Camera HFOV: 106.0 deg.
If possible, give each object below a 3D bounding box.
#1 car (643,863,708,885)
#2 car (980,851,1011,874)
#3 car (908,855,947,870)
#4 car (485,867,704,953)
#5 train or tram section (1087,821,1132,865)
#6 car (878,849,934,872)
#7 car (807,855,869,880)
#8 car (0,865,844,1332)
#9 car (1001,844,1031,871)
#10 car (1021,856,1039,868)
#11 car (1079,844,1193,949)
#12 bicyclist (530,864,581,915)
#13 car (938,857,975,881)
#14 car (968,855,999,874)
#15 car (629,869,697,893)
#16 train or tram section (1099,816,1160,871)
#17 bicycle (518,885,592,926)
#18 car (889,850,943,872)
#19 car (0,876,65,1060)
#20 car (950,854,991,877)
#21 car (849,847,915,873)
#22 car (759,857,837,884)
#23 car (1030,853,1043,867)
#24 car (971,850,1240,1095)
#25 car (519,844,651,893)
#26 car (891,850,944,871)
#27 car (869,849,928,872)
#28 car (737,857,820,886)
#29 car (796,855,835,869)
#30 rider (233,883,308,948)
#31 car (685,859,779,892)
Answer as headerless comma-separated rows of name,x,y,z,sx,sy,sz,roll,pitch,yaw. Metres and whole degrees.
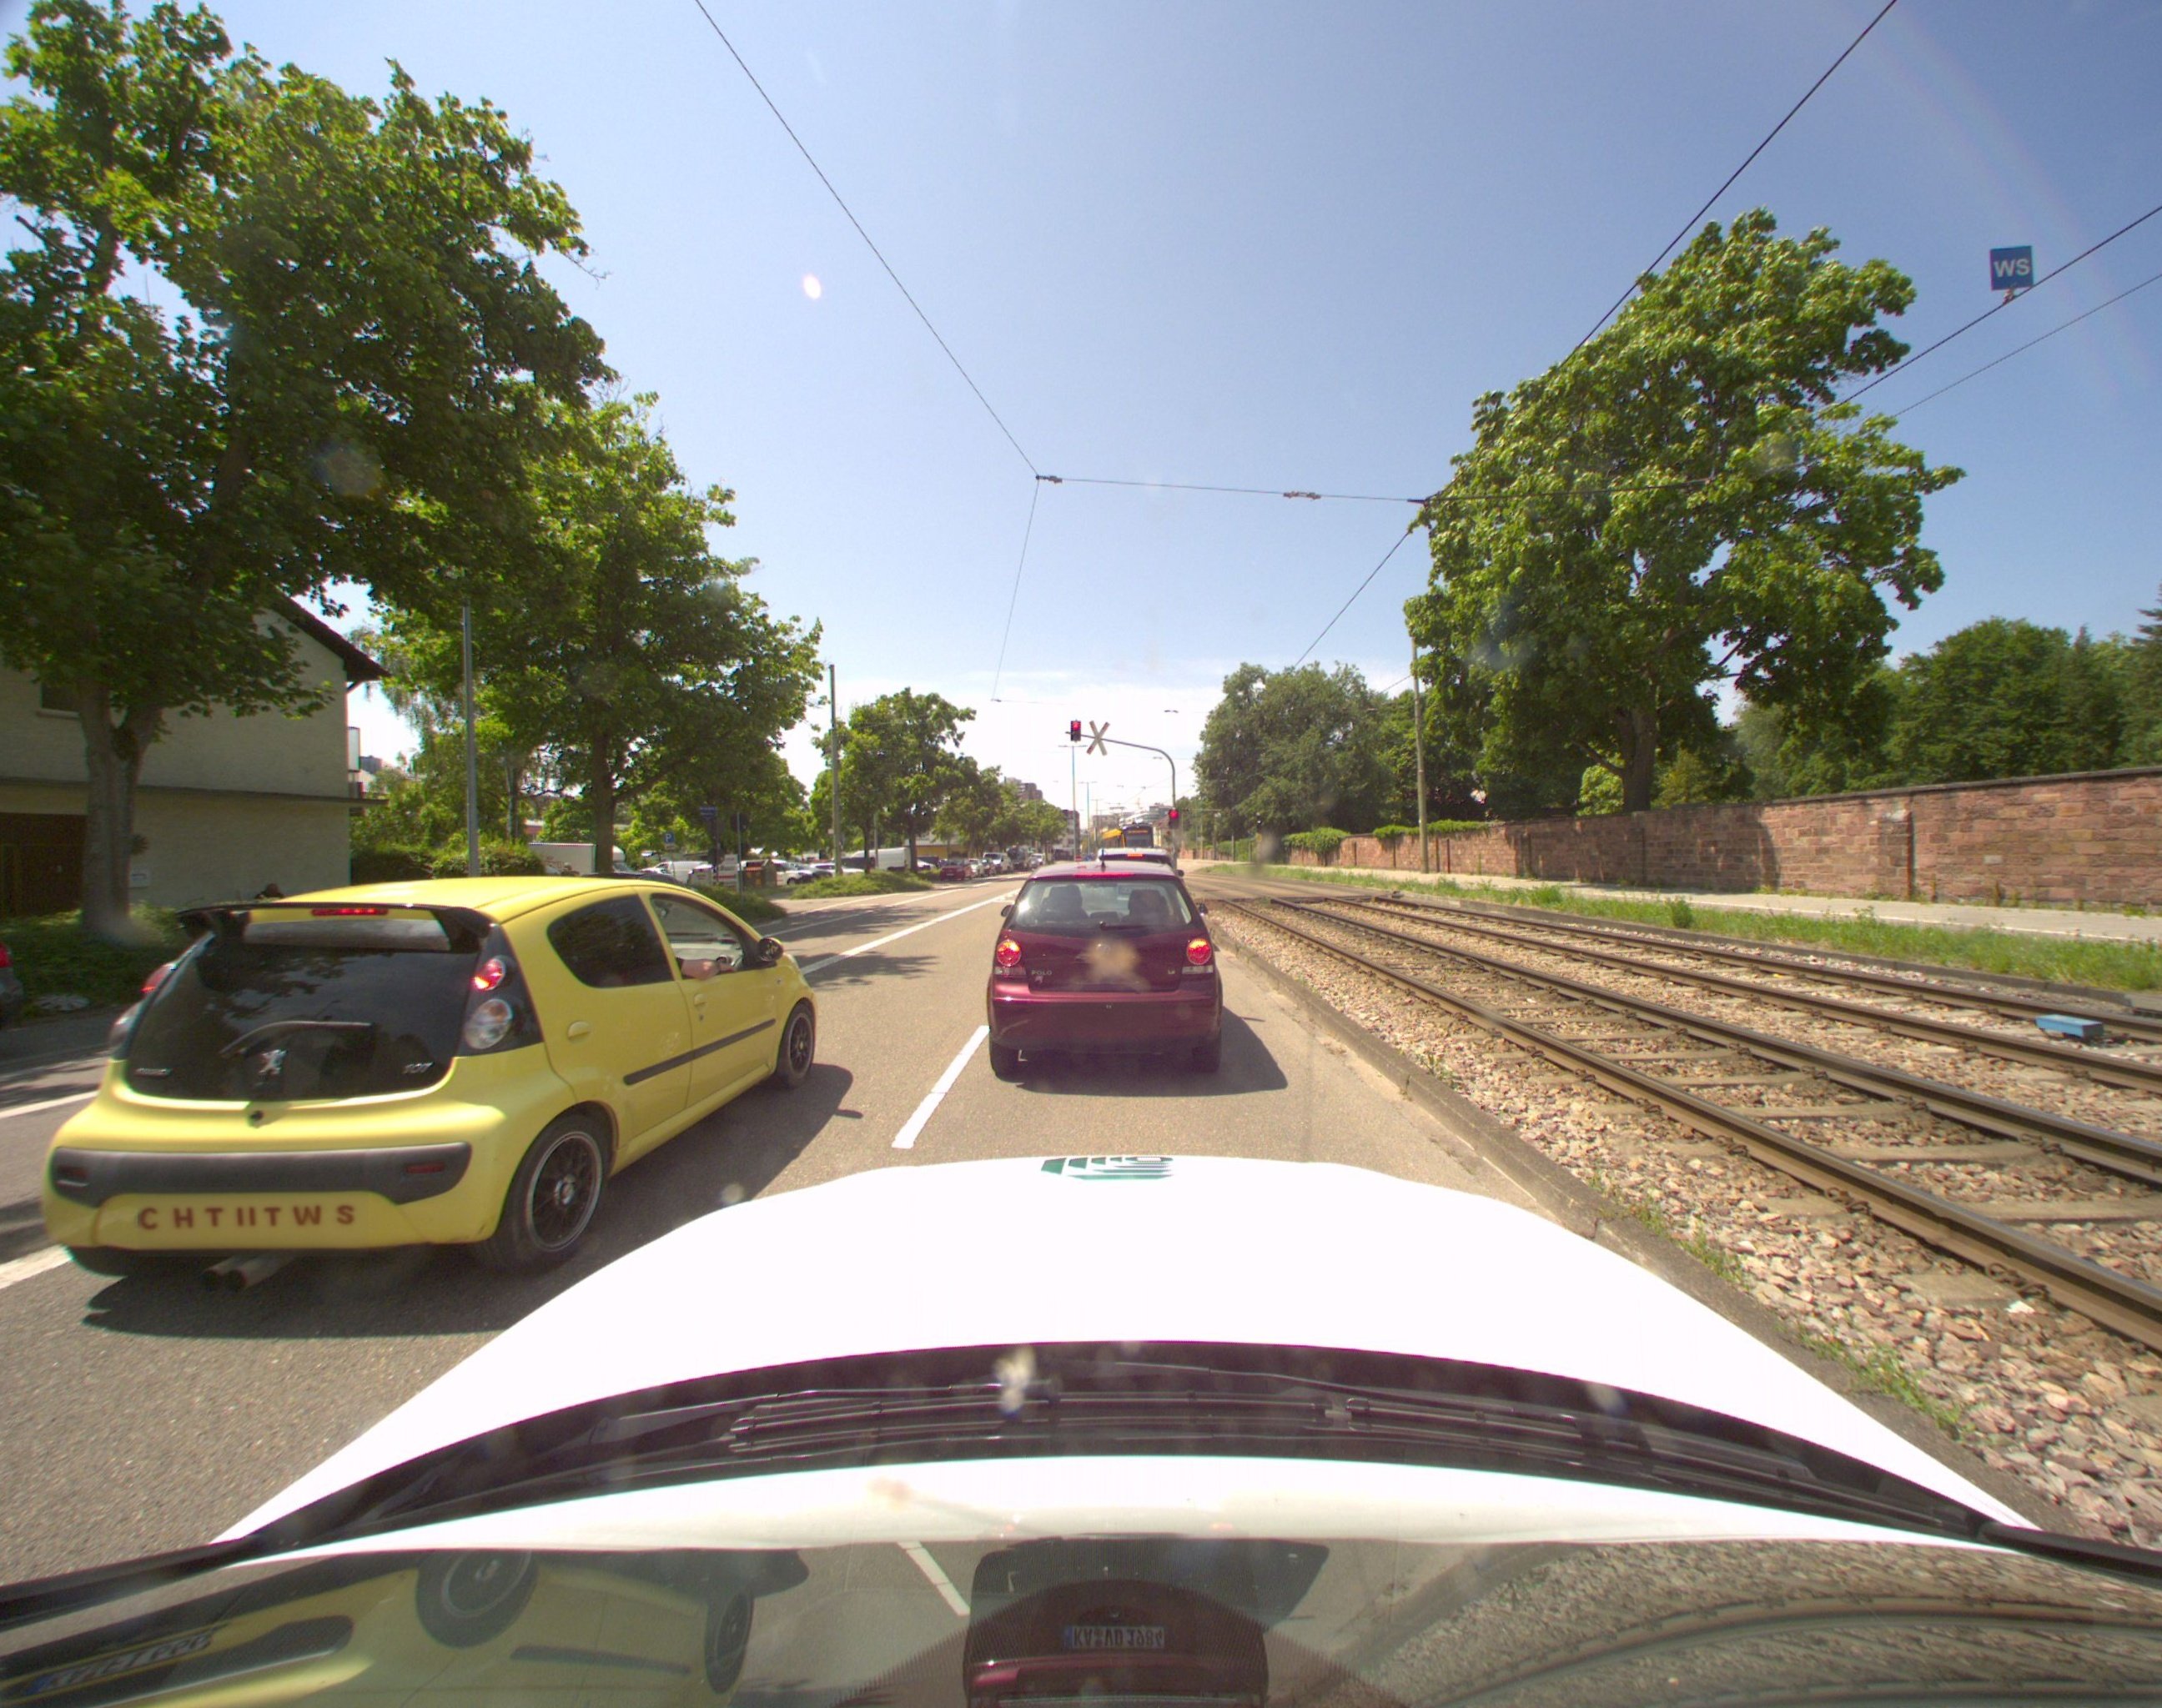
car,-30.691,1.509,61.763,3.982,1.653,1.812,1,-1,-7
car,-7.457,0.759,71.542,1.774,1.881,4.791,0,-1,5
car,-17.413,1.001,92.347,4.004,1.617,1.818,1,-1,3
car,-9.867,1.058,17.018,1.812,1.476,4.450,0,0,1
train or tram section,2.391,-0.941,72.374,2.736,3.609,10.931,1,0,-5
car,-17.740,0.671,82.877,5.076,2.244,2.380,1,-1,3
car,-18.187,0.993,61.102,3.973,1.746,1.998,-2,0,0
car,-2.656,0.798,4.336,1.684,1.411,3.516,0,0,1
car,-6.705,0.429,84.579,2.352,2.692,5.311,1,-1,3
car,-6.386,1.014,101.587,1.606,1.441,4.006,0,-1,5
car,0.903,0.658,14.753,1.770,1.647,4.001,0,0,1
bicyclist,-14.420,0.957,22.367,0.805,1.374,0.829,0,-1,5
car,-8.336,1.003,54.760,1.655,1.497,4.004,1,-1,4
car,-7.888,0.853,66.125,1.606,1.441,4.006,0,-1,5
car,-30.428,1.974,59.338,3.982,1.653,1.812,1,-1,-7
train or tram section,3.363,-0.738,60.929,2.736,3.609,12.847,1,0,-5
bicycle,-14.413,1.388,22.376,0.697,1.030,1.831,0,-1,5
car,-17.252,0.704,85.336,5.076,2.244,2.380,1,-1,3
car,-10.237,0.992,5.344,1.812,1.564,4.182,0,0,1
car,-8.229,0.873,61.313,1.965,1.601,4.566,0,-1,6
car,-17.462,0.514,71.637,5.076,2.244,2.380,1,-1,3
car,-18.420,1.074,53.069,4.319,1.585,1.917,-2,0,8
car,-5.891,0.778,107.856,1.771,1.828,3.995,1,-1,-3
car,0.197,0.731,7.063,1.666,1.521,4.001,0,0,1
car,-31.449,0.903,51.814,6.828,2.965,2.364,1,-1,0
car,-17.606,0.730,87.929,5.076,2.244,2.380,1,-1,3
car,-17.836,0.633,79.690,5.076,2.244,2.380,1,-1,3
car,-18.634,1.086,50.259,4.319,1.585,1.917,-2,0,7
car,-31.585,1.001,96.931,4.007,1.617,1.816,1,-1,0
rider,-17.974,1.351,18.078,0.820,1.374,0.814,-2,0,10
car,-19.358,1.177,45.275,4.330,1.585,1.912,-2,0,-1
